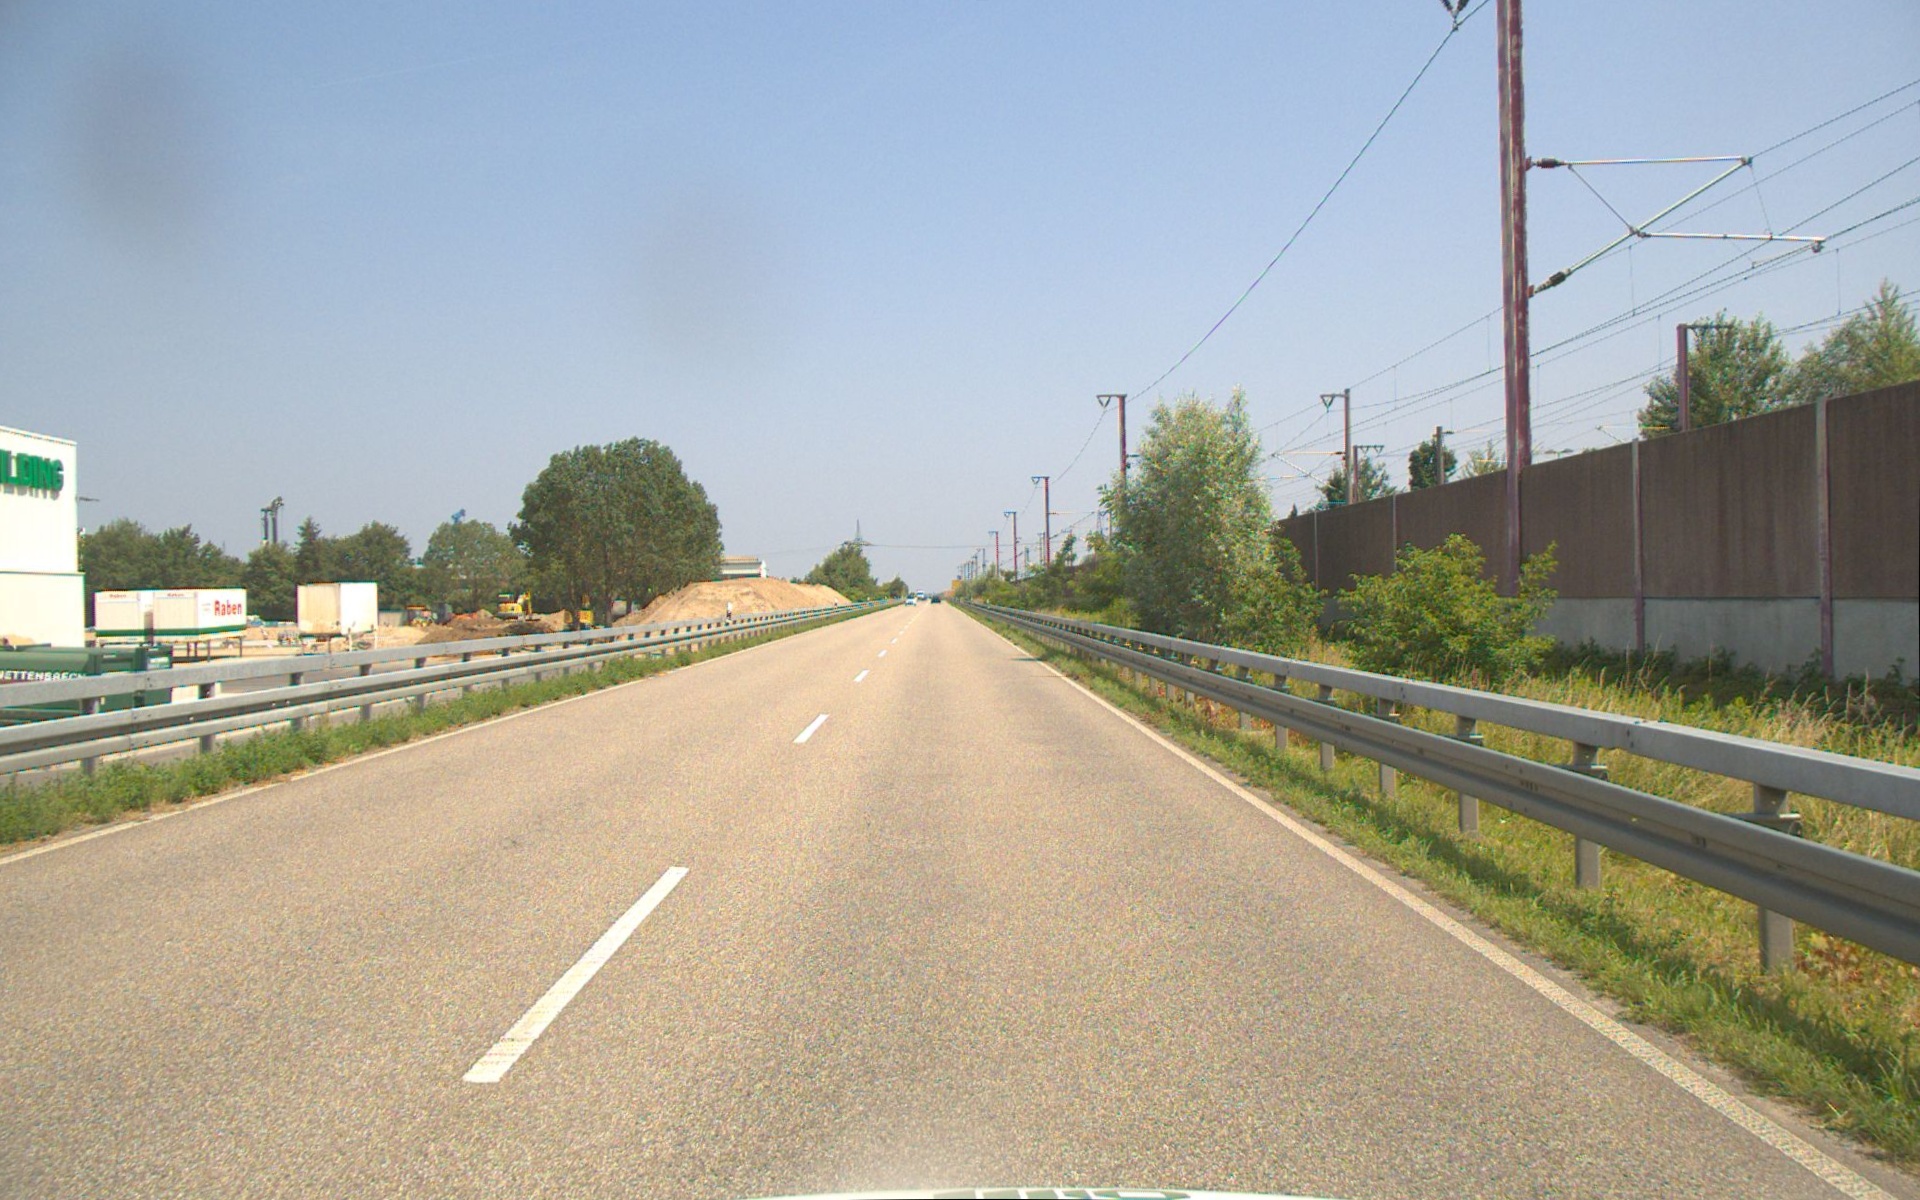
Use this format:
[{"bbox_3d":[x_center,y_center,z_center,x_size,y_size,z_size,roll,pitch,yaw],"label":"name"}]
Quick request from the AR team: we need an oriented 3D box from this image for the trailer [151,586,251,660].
[{"bbox_3d":[-44.824,1.268,97.937,2.689,4.220,7.892,0,1,-4],"label":"trailer"}]

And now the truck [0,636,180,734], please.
[{"bbox_3d":[-24.425,2.306,45.356,4.946,2.582,2.270,0,-1,-6],"label":"truck"}]

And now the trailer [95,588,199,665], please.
[{"bbox_3d":[-47.813,1.485,97.481,2.798,4.292,7.533,0,1,-4],"label":"trailer"}]

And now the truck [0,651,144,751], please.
[{"bbox_3d":[-23.585,2.520,41.689,4.907,2.374,2.232,0,0,-1],"label":"truck"}]

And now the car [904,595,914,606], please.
[{"bbox_3d":[-7.443,0.033,241.230,1.563,1.604,3.827,0,0,-2],"label":"car"}]

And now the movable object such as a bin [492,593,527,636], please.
[{"bbox_3d":[-40.726,1.341,149.408,2.582,3.716,5.429,-3,0,-19],"label":"movable object such as a bin"}]

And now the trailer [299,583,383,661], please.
[{"bbox_3d":[-36.665,1.192,98.257,2.626,4.408,7.945,0,1,-5],"label":"trailer"}]
